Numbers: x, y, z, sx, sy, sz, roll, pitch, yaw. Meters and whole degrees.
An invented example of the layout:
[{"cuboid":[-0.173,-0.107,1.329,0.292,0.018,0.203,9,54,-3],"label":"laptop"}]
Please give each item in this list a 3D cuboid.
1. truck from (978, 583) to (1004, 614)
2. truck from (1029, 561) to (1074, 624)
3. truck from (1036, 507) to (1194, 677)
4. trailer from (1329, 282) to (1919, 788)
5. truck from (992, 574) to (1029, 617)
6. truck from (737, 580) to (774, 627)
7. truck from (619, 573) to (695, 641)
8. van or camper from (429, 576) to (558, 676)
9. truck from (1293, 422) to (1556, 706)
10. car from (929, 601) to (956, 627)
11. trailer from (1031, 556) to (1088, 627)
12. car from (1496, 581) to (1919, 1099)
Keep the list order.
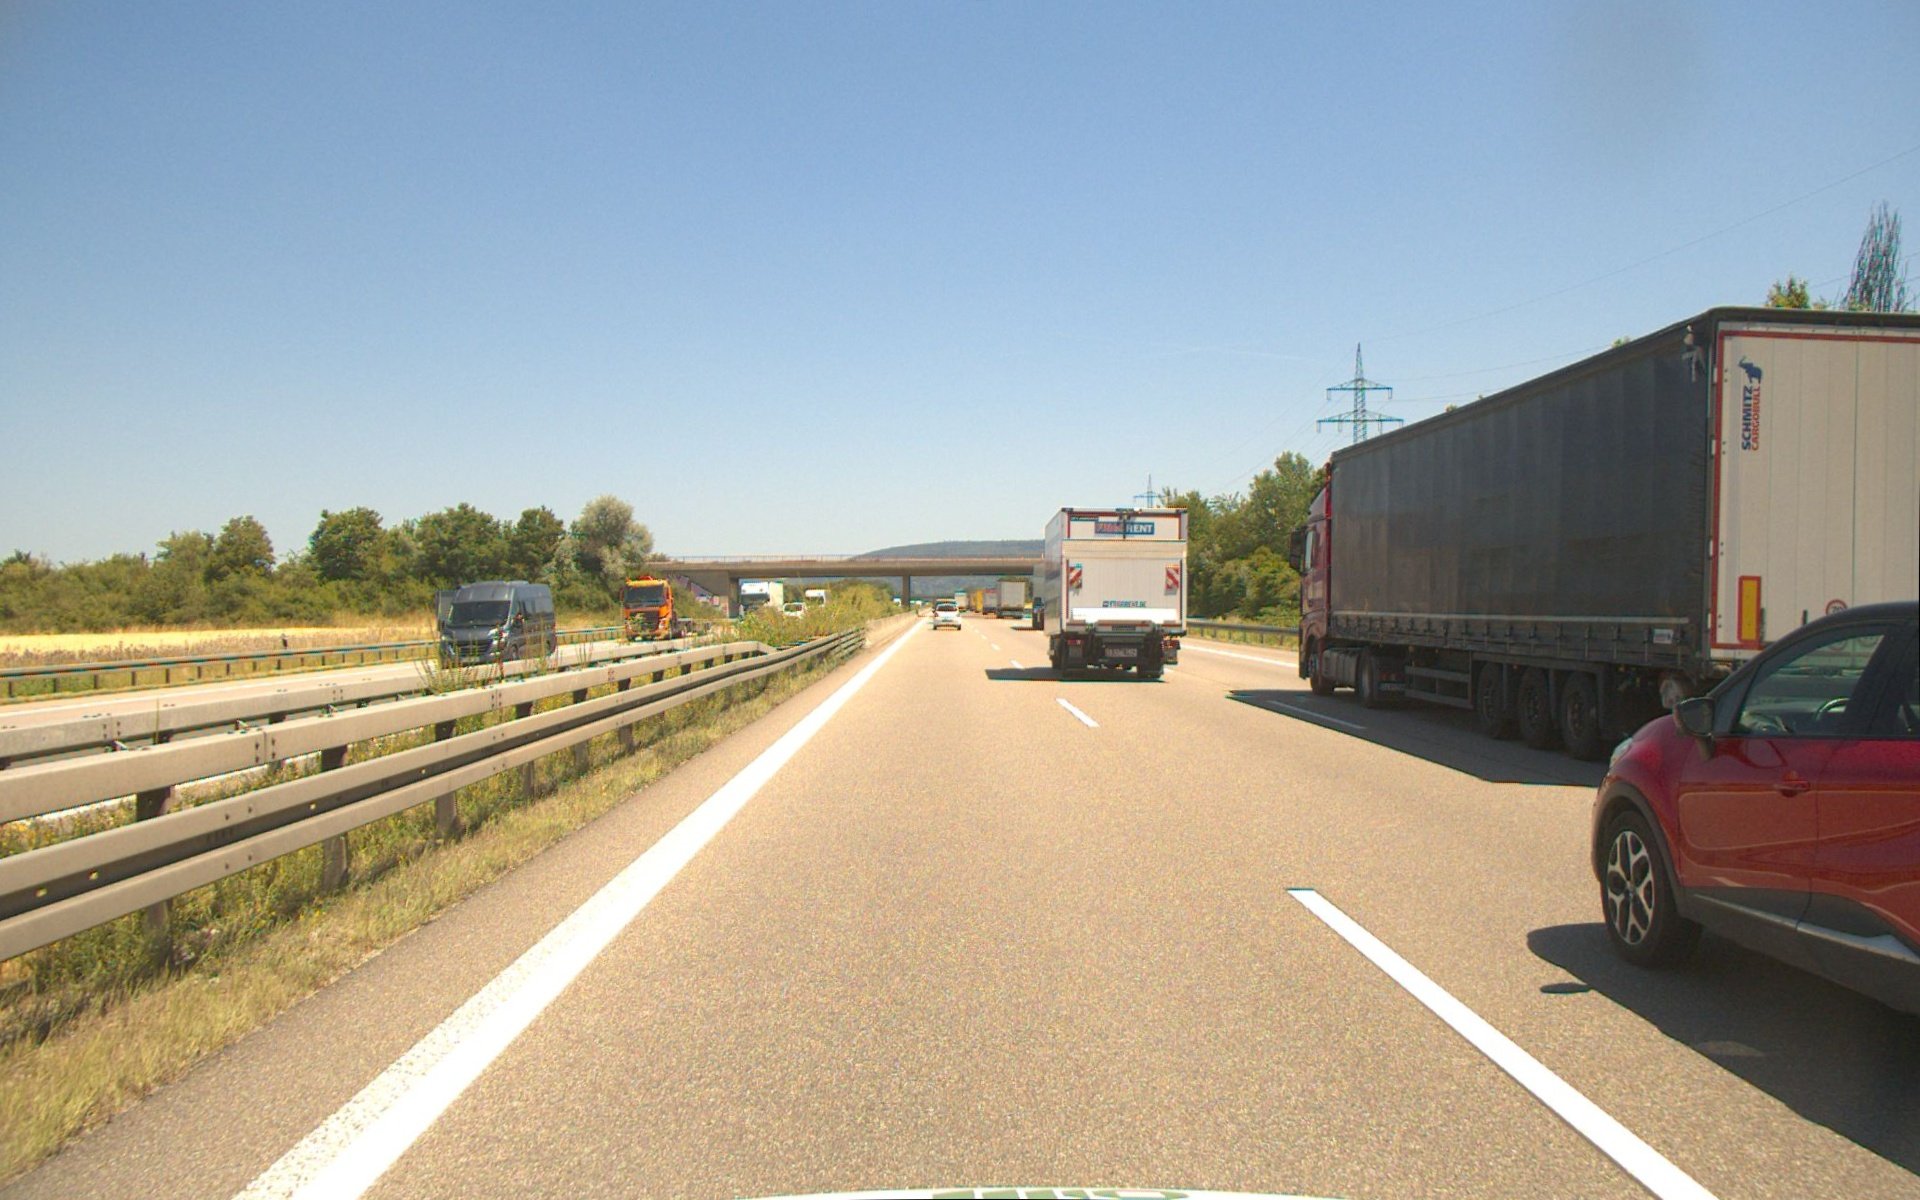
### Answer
[{"cuboid":[4.660,-0.167,254.106,3.449,4.493,14.588,-1,0,-1],"label":"truck"},{"cuboid":[6.237,-0.491,112.933,2.738,4.237,5.722,0,0,0],"label":"truck"},{"cuboid":[3.342,-0.146,37.746,2.726,3.432,8.125,0,0,-1],"label":"truck"},{"cuboid":[7.578,-0.536,20.662,2.732,4.237,13.571,0,0,-1],"label":"trailer"},{"cuboid":[5.505,-0.438,183.305,3.449,4.493,14.588,-1,0,-1],"label":"truck"},{"cuboid":[-18.508,0.323,150.071,2.626,4.085,5.754,-2,0,-1],"label":"truck"},{"cuboid":[-17.855,0.396,98.220,2.598,3.725,10.187,-2,0,-1],"label":"truck"},{"cuboid":[-13.486,0.721,48.210,2.127,2.633,5.871,-3,0,-2],"label":"van or camper"},{"cuboid":[7.496,-0.531,27.498,2.738,4.237,5.722,0,0,0],"label":"truck"},{"cuboid":[-1.027,0.843,99.289,1.574,1.493,4.000,-1,0,0],"label":"car"},{"cuboid":[6.260,-0.496,105.783,2.738,4.237,13.954,0,0,0],"label":"trailer"},{"cuboid":[3.780,0.733,6.896,1.766,1.572,3.999,0,0,-1],"label":"car"}]
